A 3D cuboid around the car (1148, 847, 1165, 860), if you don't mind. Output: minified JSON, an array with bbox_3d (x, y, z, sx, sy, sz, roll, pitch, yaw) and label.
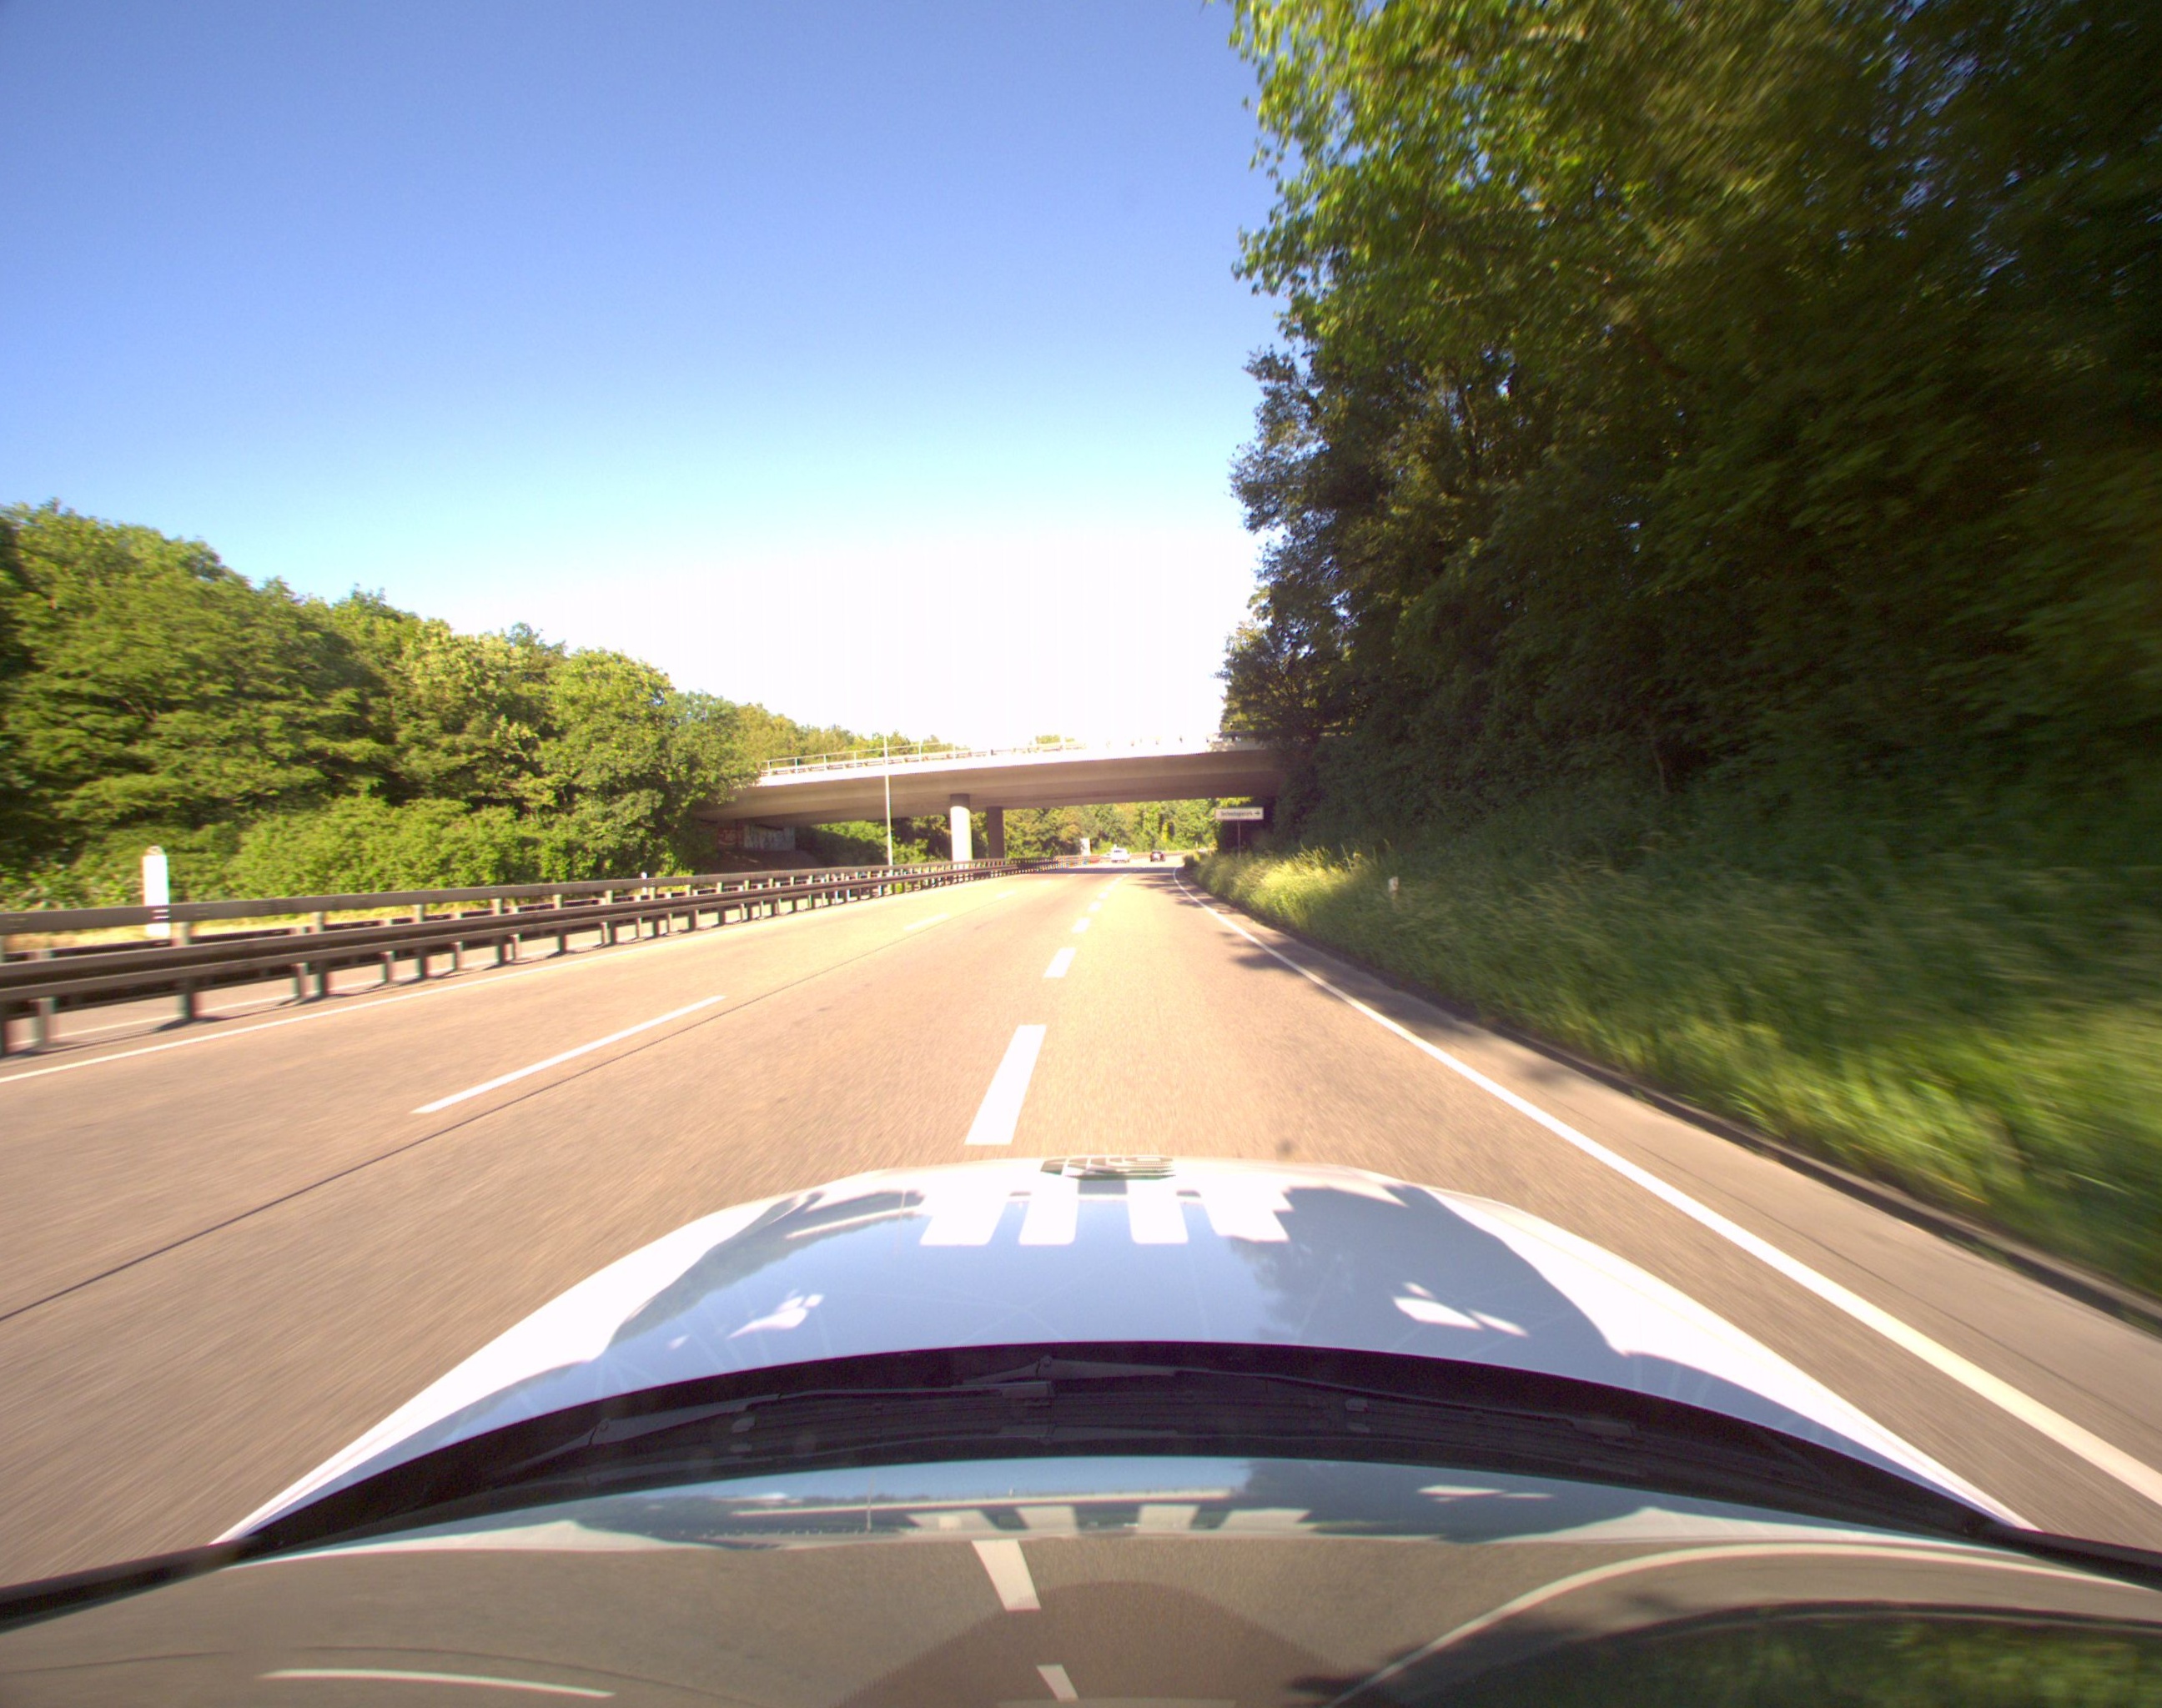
[{"bbox_3d":[10.112,-0.127,109.057,1.727,1.662,3.959,-2,0,12],"label":"car"}]

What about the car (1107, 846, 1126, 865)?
[{"bbox_3d":[4.521,0.206,102.407,1.983,2.277,4.007,-2,0,6],"label":"car"}]
